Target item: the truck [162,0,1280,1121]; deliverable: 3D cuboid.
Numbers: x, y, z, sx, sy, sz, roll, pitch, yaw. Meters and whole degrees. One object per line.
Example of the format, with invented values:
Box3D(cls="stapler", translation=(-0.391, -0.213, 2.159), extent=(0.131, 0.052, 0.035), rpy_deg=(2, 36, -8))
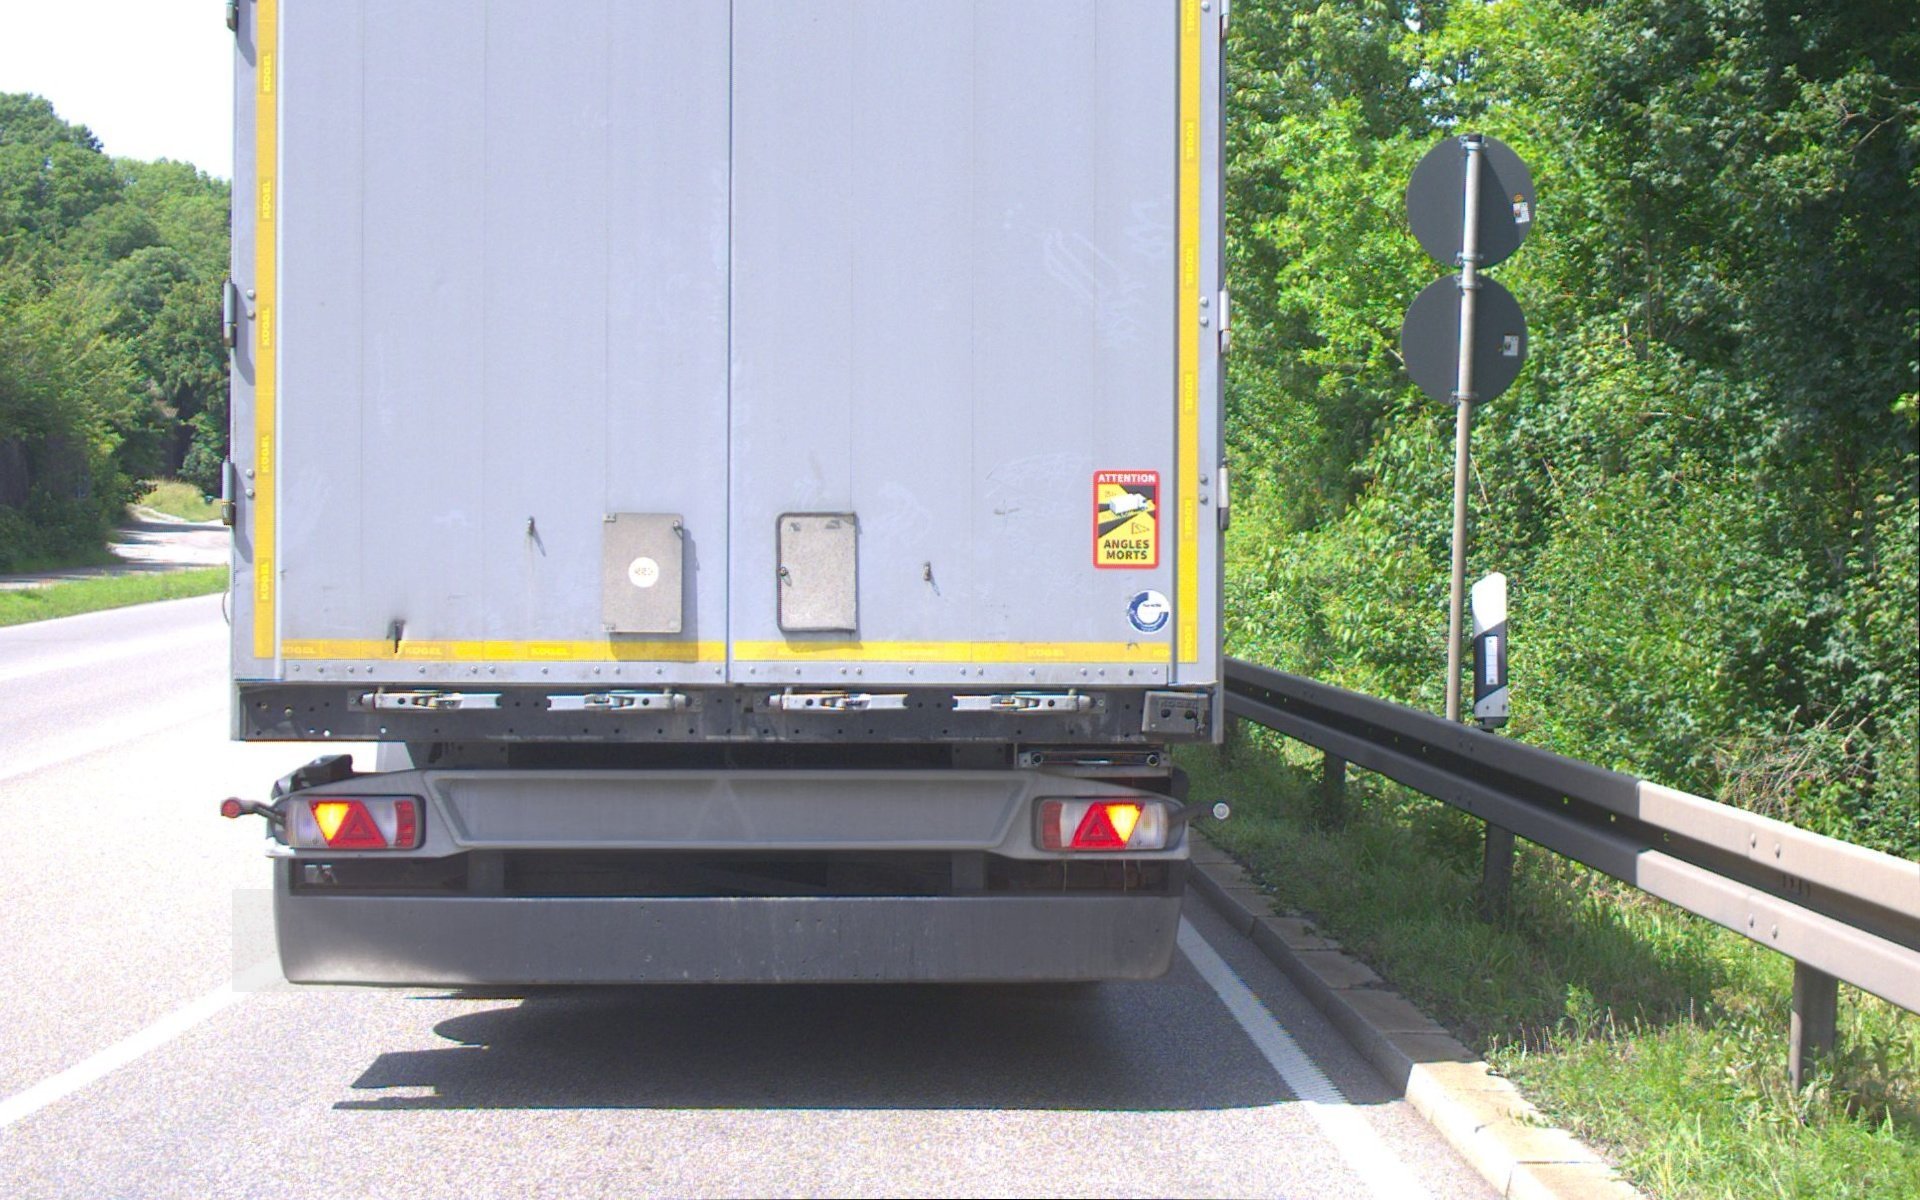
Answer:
Box3D(cls="truck", translation=(-0.736, -0.837, 14.497), extent=(2.757, 4.016, 11.925), rpy_deg=(0, 1, -1))
